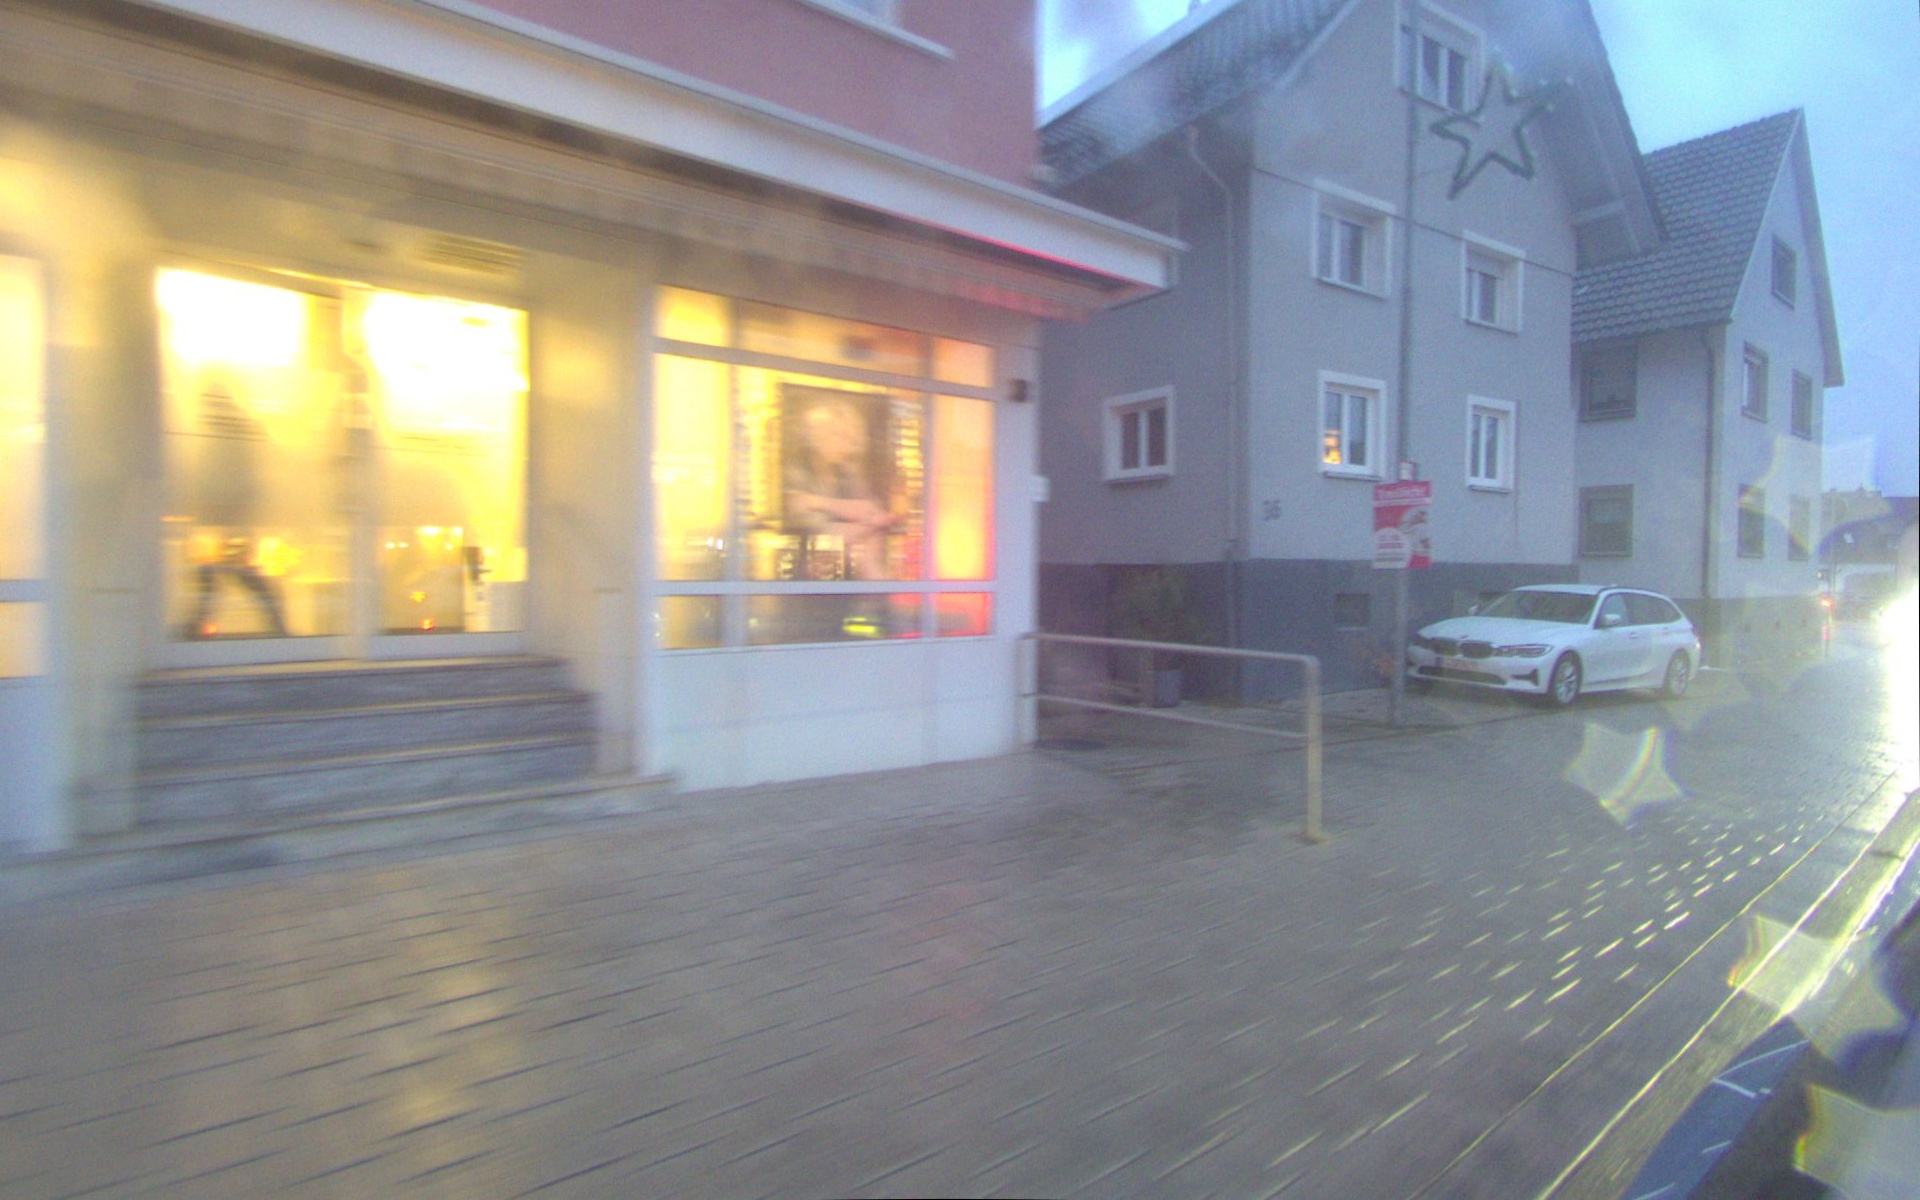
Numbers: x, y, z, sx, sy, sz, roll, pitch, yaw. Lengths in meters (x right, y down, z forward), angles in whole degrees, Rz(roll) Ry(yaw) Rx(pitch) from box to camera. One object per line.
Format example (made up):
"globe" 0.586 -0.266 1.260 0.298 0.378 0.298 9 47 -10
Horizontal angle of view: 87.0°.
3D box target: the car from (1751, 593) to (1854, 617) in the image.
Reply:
"car" 47.419 0.280 57.102 4.214 1.315 1.977 0 0 33

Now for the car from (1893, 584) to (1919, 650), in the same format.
"car" 31.322 0.515 32.027 1.986 2.039 3.952 0 0 33

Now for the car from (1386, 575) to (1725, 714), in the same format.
"car" 7.805 0.453 13.132 4.605 1.504 1.937 -1 0 -33
